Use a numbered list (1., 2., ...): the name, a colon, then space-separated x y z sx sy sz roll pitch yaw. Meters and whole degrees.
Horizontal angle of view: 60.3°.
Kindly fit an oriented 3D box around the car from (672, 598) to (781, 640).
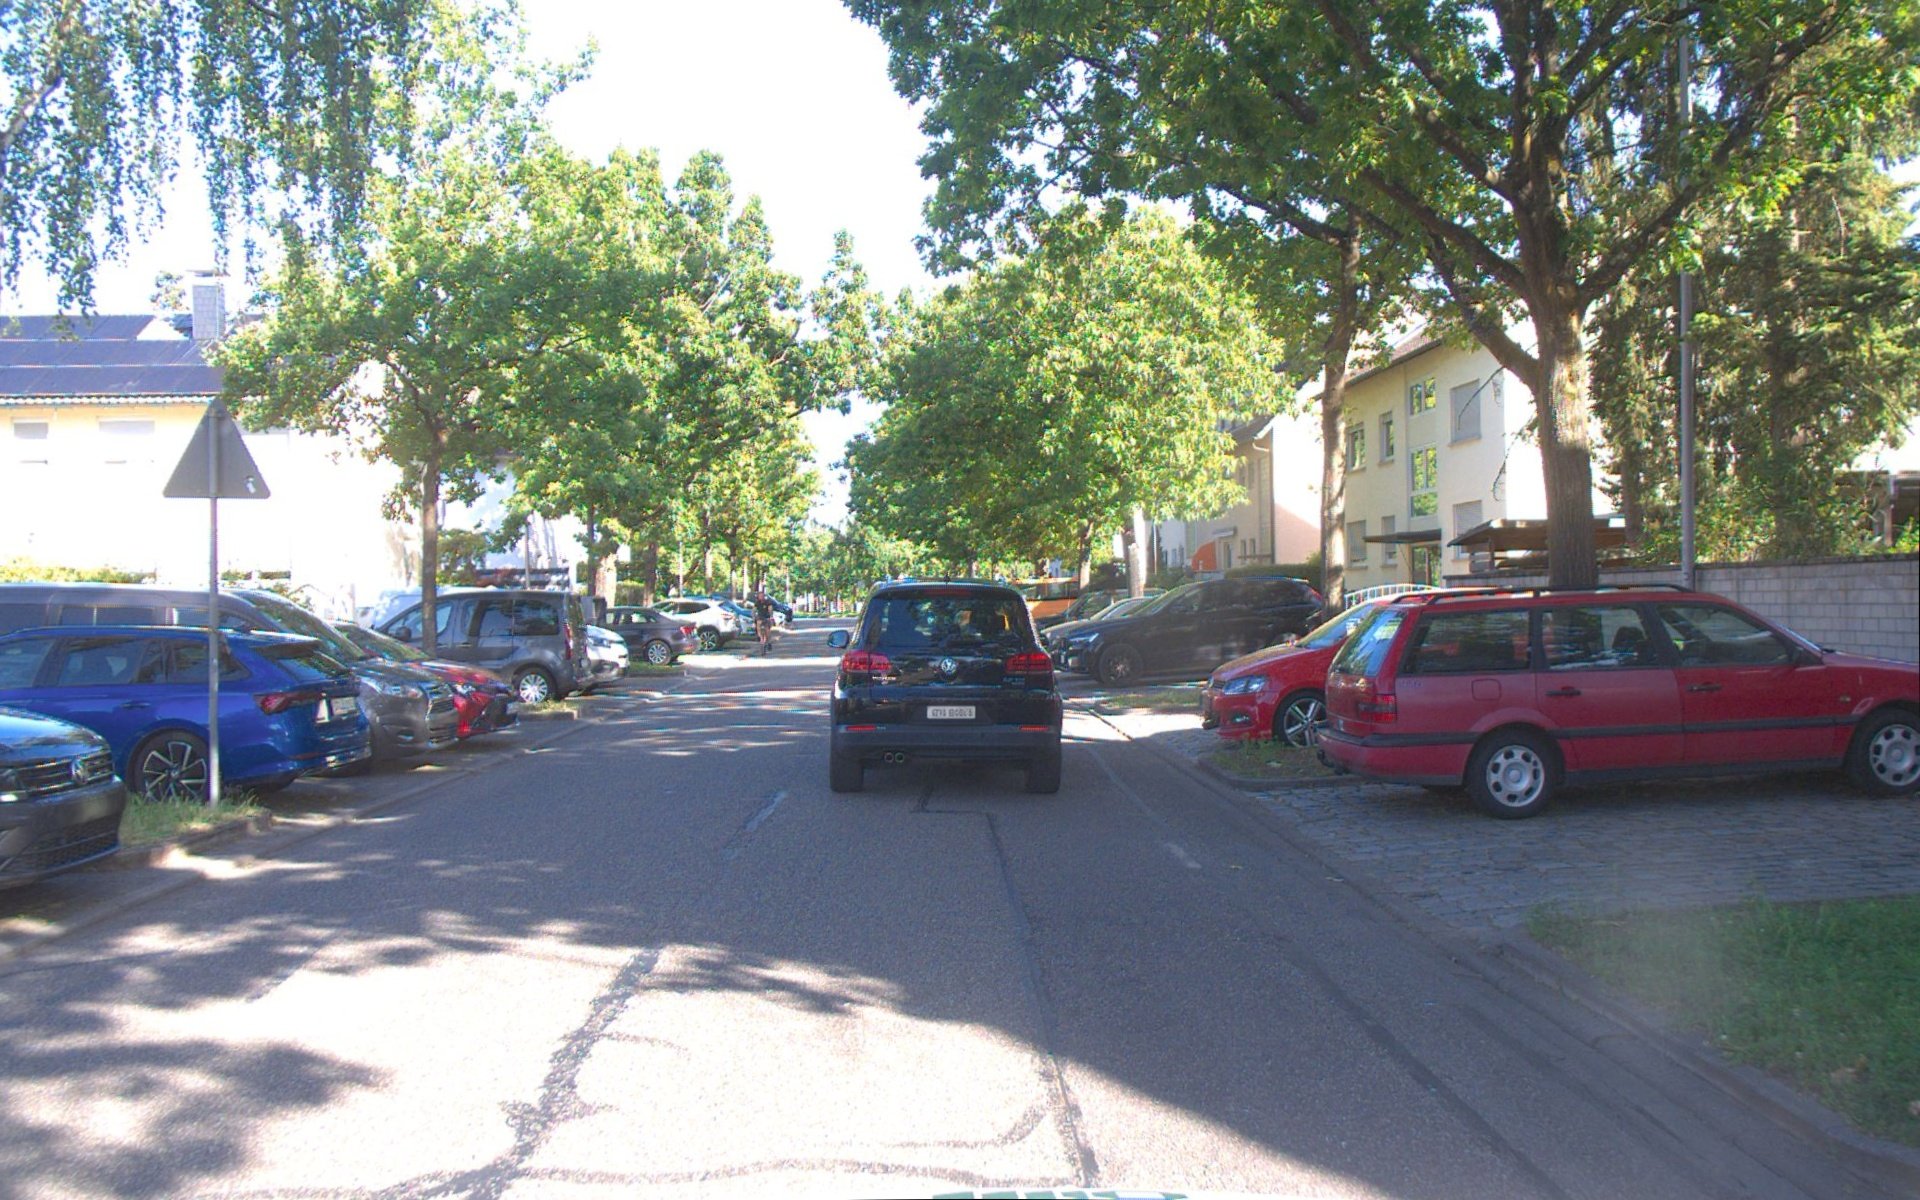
1. car: -10.010 0.803 71.144 4.435 1.659 1.936 -2 0 -4

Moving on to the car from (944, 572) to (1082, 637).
1. car: 1.880 0.166 59.485 4.723 2.120 2.084 -2 0 -4

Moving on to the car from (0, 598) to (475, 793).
1. car: -7.340 0.882 16.344 4.580 1.799 1.794 0 0 -3

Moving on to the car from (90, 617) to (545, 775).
1. car: -7.095 1.031 18.663 4.389 1.526 1.835 -2 0 -5

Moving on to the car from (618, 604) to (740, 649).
1. car: -9.619 0.902 56.854 3.955 1.448 1.808 1 0 -5

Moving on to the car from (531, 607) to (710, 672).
1. car: -8.382 0.958 41.130 4.127 1.497 1.689 -1 0 -4

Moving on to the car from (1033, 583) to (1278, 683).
1. car: 3.602 0.587 30.929 4.235 1.556 1.839 -3 0 -4

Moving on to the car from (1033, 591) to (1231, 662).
1. car: 3.941 0.601 38.370 4.338 1.354 1.690 -4 0 -1

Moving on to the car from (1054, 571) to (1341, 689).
1. car: 3.955 0.484 28.049 4.483 1.675 1.837 -3 0 -3

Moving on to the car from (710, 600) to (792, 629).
1. car: -11.044 0.761 87.649 4.192 1.504 1.767 0 0 -5

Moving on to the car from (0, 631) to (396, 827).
1. car: -7.009 1.009 13.536 4.184 1.449 1.723 0 0 0

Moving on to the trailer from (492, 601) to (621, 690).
1. trailer: -8.212 0.902 33.775 2.190 1.703 1.475 -1 0 1

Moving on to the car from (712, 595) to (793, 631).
1. car: -12.258 0.738 97.868 4.687 1.950 2.016 -2 0 -7

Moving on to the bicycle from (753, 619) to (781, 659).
1. bicycle: -5.611 1.113 48.115 0.585 1.076 1.985 -4 0 -2

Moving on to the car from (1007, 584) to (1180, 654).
1. car: 3.481 0.476 43.591 4.253 1.587 1.866 -3 0 -4

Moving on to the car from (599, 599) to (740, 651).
1. car: -8.994 0.772 51.496 4.103 1.594 1.791 0 0 -2

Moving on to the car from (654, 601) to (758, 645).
1. car: -10.200 0.914 66.603 3.908 1.623 1.856 -2 -1 -4

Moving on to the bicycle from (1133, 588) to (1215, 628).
1. bicycle: 7.657 0.280 59.170 2.802 1.258 0.467 -4 -1 -3

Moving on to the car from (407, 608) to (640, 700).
1. car: -8.124 0.990 31.041 3.908 1.543 1.689 -2 0 -4

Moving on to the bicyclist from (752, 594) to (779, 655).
1. bicyclist: -5.637 0.703 48.030 0.584 1.703 0.975 -4 0 -2

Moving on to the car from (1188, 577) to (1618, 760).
1. car: 4.272 0.657 16.355 3.701 1.510 1.755 -3 -1 -2

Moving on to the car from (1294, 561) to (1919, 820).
1. car: 4.810 0.579 11.763 4.412 1.471 1.837 -3 -1 -2

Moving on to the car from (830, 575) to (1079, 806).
1. car: -0.098 0.661 13.973 1.801 1.665 3.956 0 0 -2

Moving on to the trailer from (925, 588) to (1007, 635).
1. trailer: 0.222 0.432 63.832 2.892 1.693 1.611 -2 0 -10

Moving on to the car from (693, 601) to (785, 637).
1. car: -10.345 0.891 77.662 4.100 1.518 1.646 -2 0 -4

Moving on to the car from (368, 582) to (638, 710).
1. car: -7.804 0.757 28.609 4.154 1.978 1.998 -2 0 -6

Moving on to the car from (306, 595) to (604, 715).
1. car: -7.844 0.829 26.046 4.156 1.801 1.965 0 0 -6

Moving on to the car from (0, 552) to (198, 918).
1. car: -6.553 0.707 8.798 4.124 1.754 1.760 -2 0 -1
